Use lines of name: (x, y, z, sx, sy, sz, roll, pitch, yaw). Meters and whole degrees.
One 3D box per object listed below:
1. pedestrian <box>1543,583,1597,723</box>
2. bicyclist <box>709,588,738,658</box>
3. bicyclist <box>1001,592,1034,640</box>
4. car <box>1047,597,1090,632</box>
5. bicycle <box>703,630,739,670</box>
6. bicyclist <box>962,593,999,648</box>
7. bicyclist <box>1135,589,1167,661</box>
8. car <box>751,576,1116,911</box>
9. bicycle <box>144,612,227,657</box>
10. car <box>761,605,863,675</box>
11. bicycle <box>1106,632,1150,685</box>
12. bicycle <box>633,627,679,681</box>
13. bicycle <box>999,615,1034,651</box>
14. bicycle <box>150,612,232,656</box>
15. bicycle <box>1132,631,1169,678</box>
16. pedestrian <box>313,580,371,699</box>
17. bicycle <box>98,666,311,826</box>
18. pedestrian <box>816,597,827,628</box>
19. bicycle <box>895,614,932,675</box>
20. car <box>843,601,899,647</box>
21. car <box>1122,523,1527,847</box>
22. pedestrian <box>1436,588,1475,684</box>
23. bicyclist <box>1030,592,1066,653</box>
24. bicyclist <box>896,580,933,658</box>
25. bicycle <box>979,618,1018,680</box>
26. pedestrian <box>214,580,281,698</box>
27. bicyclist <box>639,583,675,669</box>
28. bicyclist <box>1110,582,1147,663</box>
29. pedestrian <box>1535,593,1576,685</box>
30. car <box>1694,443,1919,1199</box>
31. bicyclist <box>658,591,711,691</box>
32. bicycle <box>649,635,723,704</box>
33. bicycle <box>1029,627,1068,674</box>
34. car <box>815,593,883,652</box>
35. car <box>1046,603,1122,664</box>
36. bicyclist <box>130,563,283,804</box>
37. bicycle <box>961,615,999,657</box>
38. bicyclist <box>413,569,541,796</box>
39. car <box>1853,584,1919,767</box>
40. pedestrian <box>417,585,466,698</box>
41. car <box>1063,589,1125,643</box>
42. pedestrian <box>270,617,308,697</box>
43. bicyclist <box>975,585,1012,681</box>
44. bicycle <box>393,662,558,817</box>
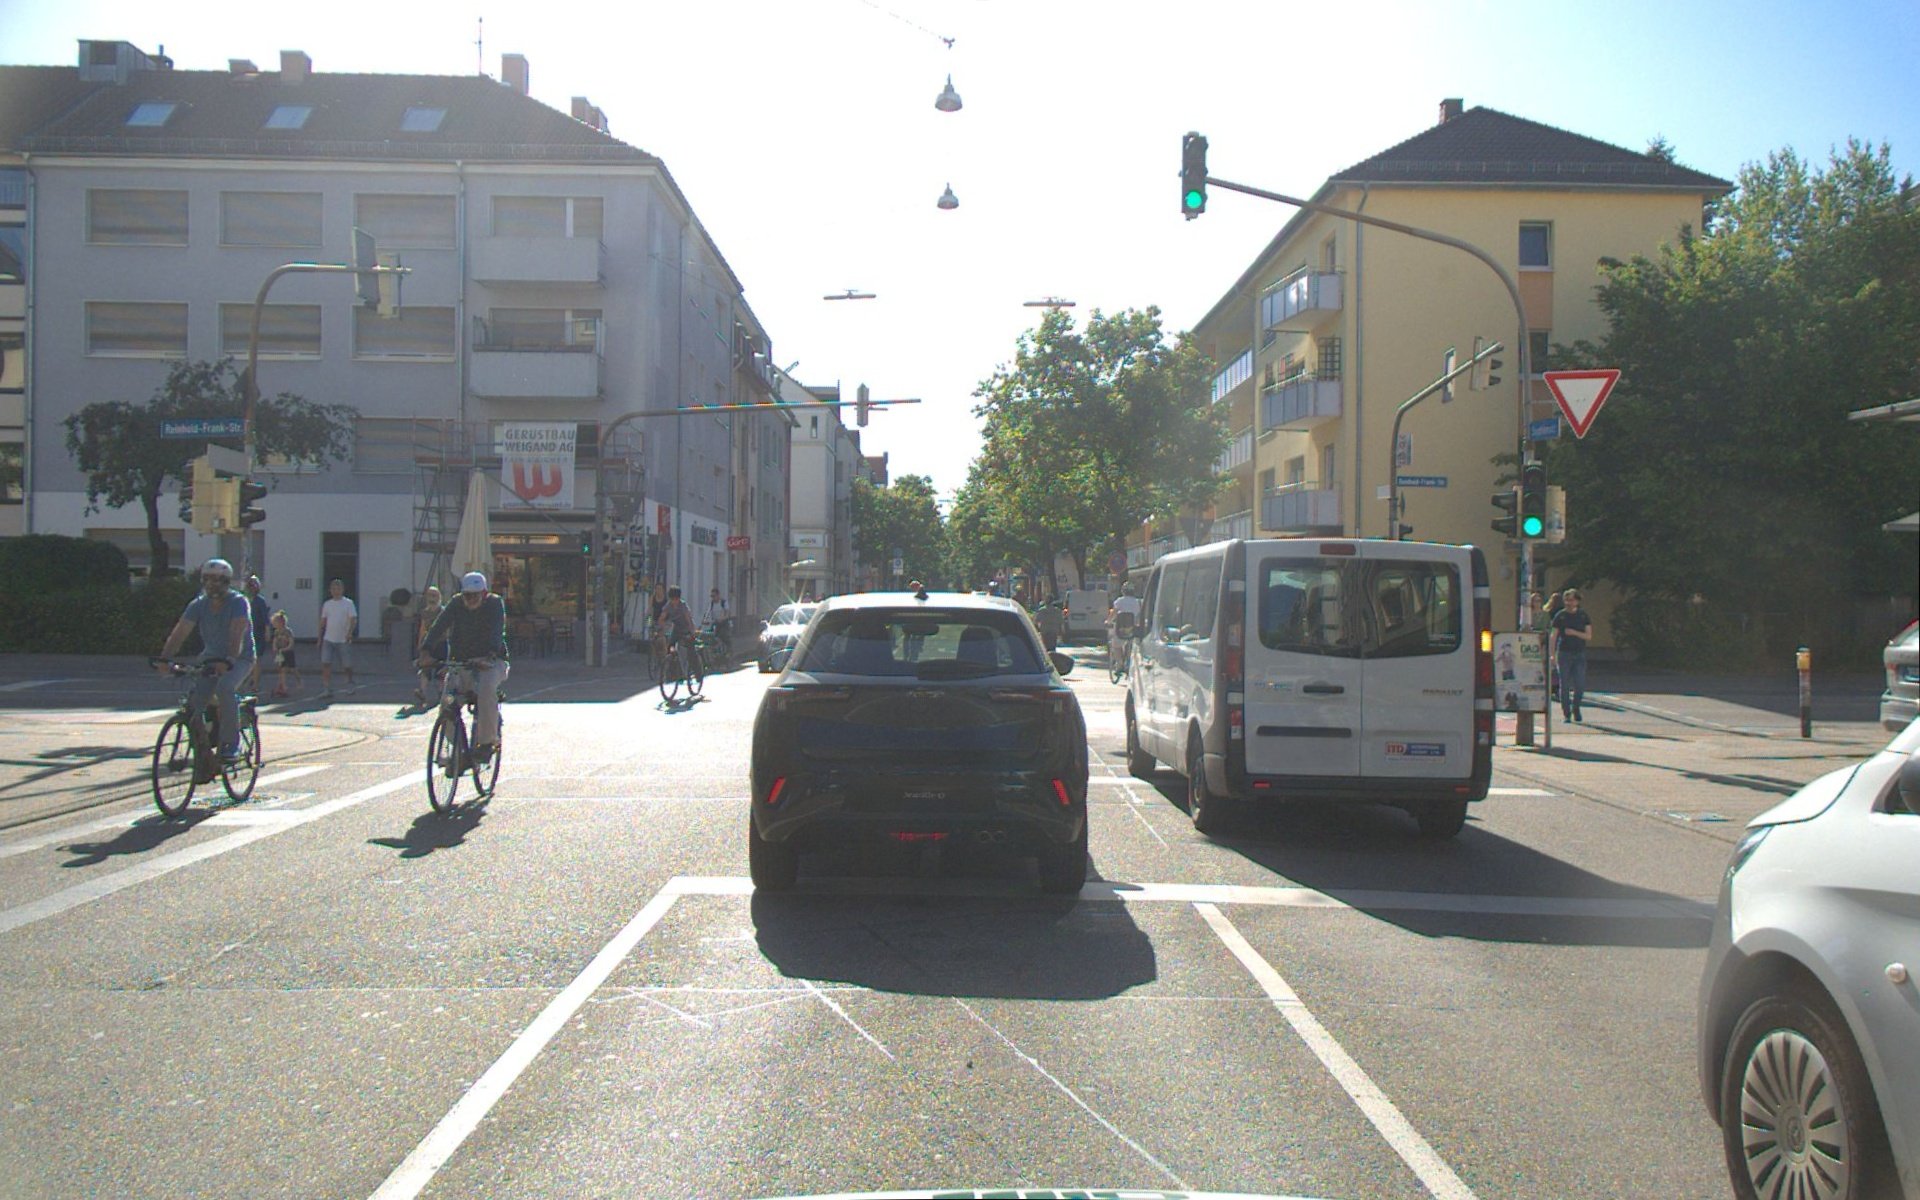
pedestrian: (8.241, 0.701, 22.353, 0.591, 1.854, 0.629, 0, 0, 12)
bicyclist: (-5.390, 0.520, 37.759, 0.542, 1.576, 0.814, 1, 0, -2)
bicyclist: (1.643, 0.449, 47.522, 0.839, 1.337, 1.210, 2, 0, -1)
car: (4.805, 0.622, 73.560, 1.678, 1.509, 3.380, 0, 0, -1)
bicycle: (-5.400, 1.119, 37.445, 0.542, 0.848, 2.130, 1, 0, -2)
bicyclist: (0.507, 0.512, 41.644, 0.839, 1.337, 1.210, 2, 0, -1)
bicyclist: (3.780, 0.479, 32.760, 0.535, 1.406, 0.823, 0, 0, 0)
car: (-0.157, 0.691, 9.874, 1.726, 1.586, 3.999, 0, 0, -1)
bicycle: (-16.696, 0.742, 35.677, 1.556, 0.956, 0.512, 0, 0, 1)
car: (-3.275, 0.855, 37.232, 1.799, 1.459, 4.177, 0, 0, 2)
bicycle: (2.975, 1.024, 29.374, 0.607, 0.881, 1.876, 0, 0, 0)
bicycle: (-5.553, 0.967, 30.289, 0.531, 0.918, 1.826, 0, 0, -1)
bicycle: (1.615, 0.930, 47.528, 0.839, 0.961, 2.307, 3, 0, -1)
bicycle: (-16.881, 0.743, 36.322, 1.556, 0.956, 0.512, 0, 0, 1)
bicycle: (3.779, 1.070, 32.872, 0.535, 0.881, 1.876, 0, 0, 0)
pedestrian: (-9.034, 0.572, 24.180, 0.561, 1.718, 0.669, 0, 0, 2)
bicycle: (-5.422, 1.015, 12.004, 0.666, 0.969, 1.933, -1, 0, -1)
pedestrian: (-7.311, 0.666, 87.461, 0.566, 1.610, 0.707, 0, 0, -6)
bicycle: (-1.000, 0.962, 36.331, 0.785, 1.277, 2.138, 0, 0, -1)
car: (-2.995, 0.785, 55.561, 1.769, 1.437, 4.423, -1, 0, -3)
car: (2.540, 0.547, 12.910, 1.928, 1.974, 5.054, 2, 0, -1)
pedestrian: (9.380, 0.673, 31.317, 0.515, 1.792, 0.623, 0, 0, -3)
bicyclist: (1.768, 0.442, 33.208, 0.678, 1.214, 0.595, 0, 0, 0)
bicyclist: (-0.995, 0.407, 36.243, 0.785, 1.678, 1.125, 0, 0, -1)
bicycle: (0.687, 0.873, 30.075, 0.619, 1.059, 1.795, 0, 0, -1)
pedestrian: (-10.603, 0.570, 24.623, 0.561, 1.712, 0.968, 0, 0, 0)
bicyclist: (-5.536, 0.464, 30.243, 0.531, 1.547, 0.774, 0, 0, -1)
bicyclist: (2.978, 0.397, 29.246, 0.576, 1.406, 0.823, 0, 0, 0)
pedestrian: (10.508, 0.685, 29.200, 0.528, 1.598, 0.539, 0, 0, -1)
car: (2.943, 0.607, 1.893, 1.928, 1.842, 4.830, 0, 0, -2)
bicyclist: (-3.985, 0.581, 23.960, 0.531, 1.415, 0.789, 0, 0, 8)
bicycle: (-3.973, 0.992, 24.078, 0.531, 0.918, 1.827, 0, 0, 8)
bicycle: (1.765, 0.996, 33.129, 0.677, 0.881, 1.876, 0, 0, 0)
car: (-3.095, 0.628, 46.808, 1.559, 1.593, 4.089, 0, -1, 1)
car: (3.189, 0.843, 43.099, 1.678, 1.509, 3.479, 0, 0, -1)
bicyclist: (-5.430, 0.579, 11.965, 0.666, 1.659, 0.899, -1, 0, -1)
bicycle: (0.490, 0.884, 41.630, 0.839, 0.961, 2.307, 3, 0, -1)
bicyclist: (-3.574, 0.589, 12.292, 0.666, 1.604, 0.899, -1, 0, -1)
car: (10.801, 0.707, 15.490, 3.906, 1.691, 1.825, 0, 0, -1)
pedestrian: (-7.440, 0.588, 23.732, 0.520, 1.609, 0.562, 0, 0, -1)
car: (4.889, 0.556, 60.764, 2.004, 1.879, 4.585, 0, 0, 1)
pedestrian: (-9.896, 0.837, 24.392, 0.378, 1.166, 0.531, 0, 0, -7)
bicyclist: (0.607, 0.586, 30.026, 0.619, 1.698, 1.050, 0, 0, -1)
bicycle: (-3.562, 0.991, 12.321, 0.666, 0.969, 1.933, -1, 0, -1)
